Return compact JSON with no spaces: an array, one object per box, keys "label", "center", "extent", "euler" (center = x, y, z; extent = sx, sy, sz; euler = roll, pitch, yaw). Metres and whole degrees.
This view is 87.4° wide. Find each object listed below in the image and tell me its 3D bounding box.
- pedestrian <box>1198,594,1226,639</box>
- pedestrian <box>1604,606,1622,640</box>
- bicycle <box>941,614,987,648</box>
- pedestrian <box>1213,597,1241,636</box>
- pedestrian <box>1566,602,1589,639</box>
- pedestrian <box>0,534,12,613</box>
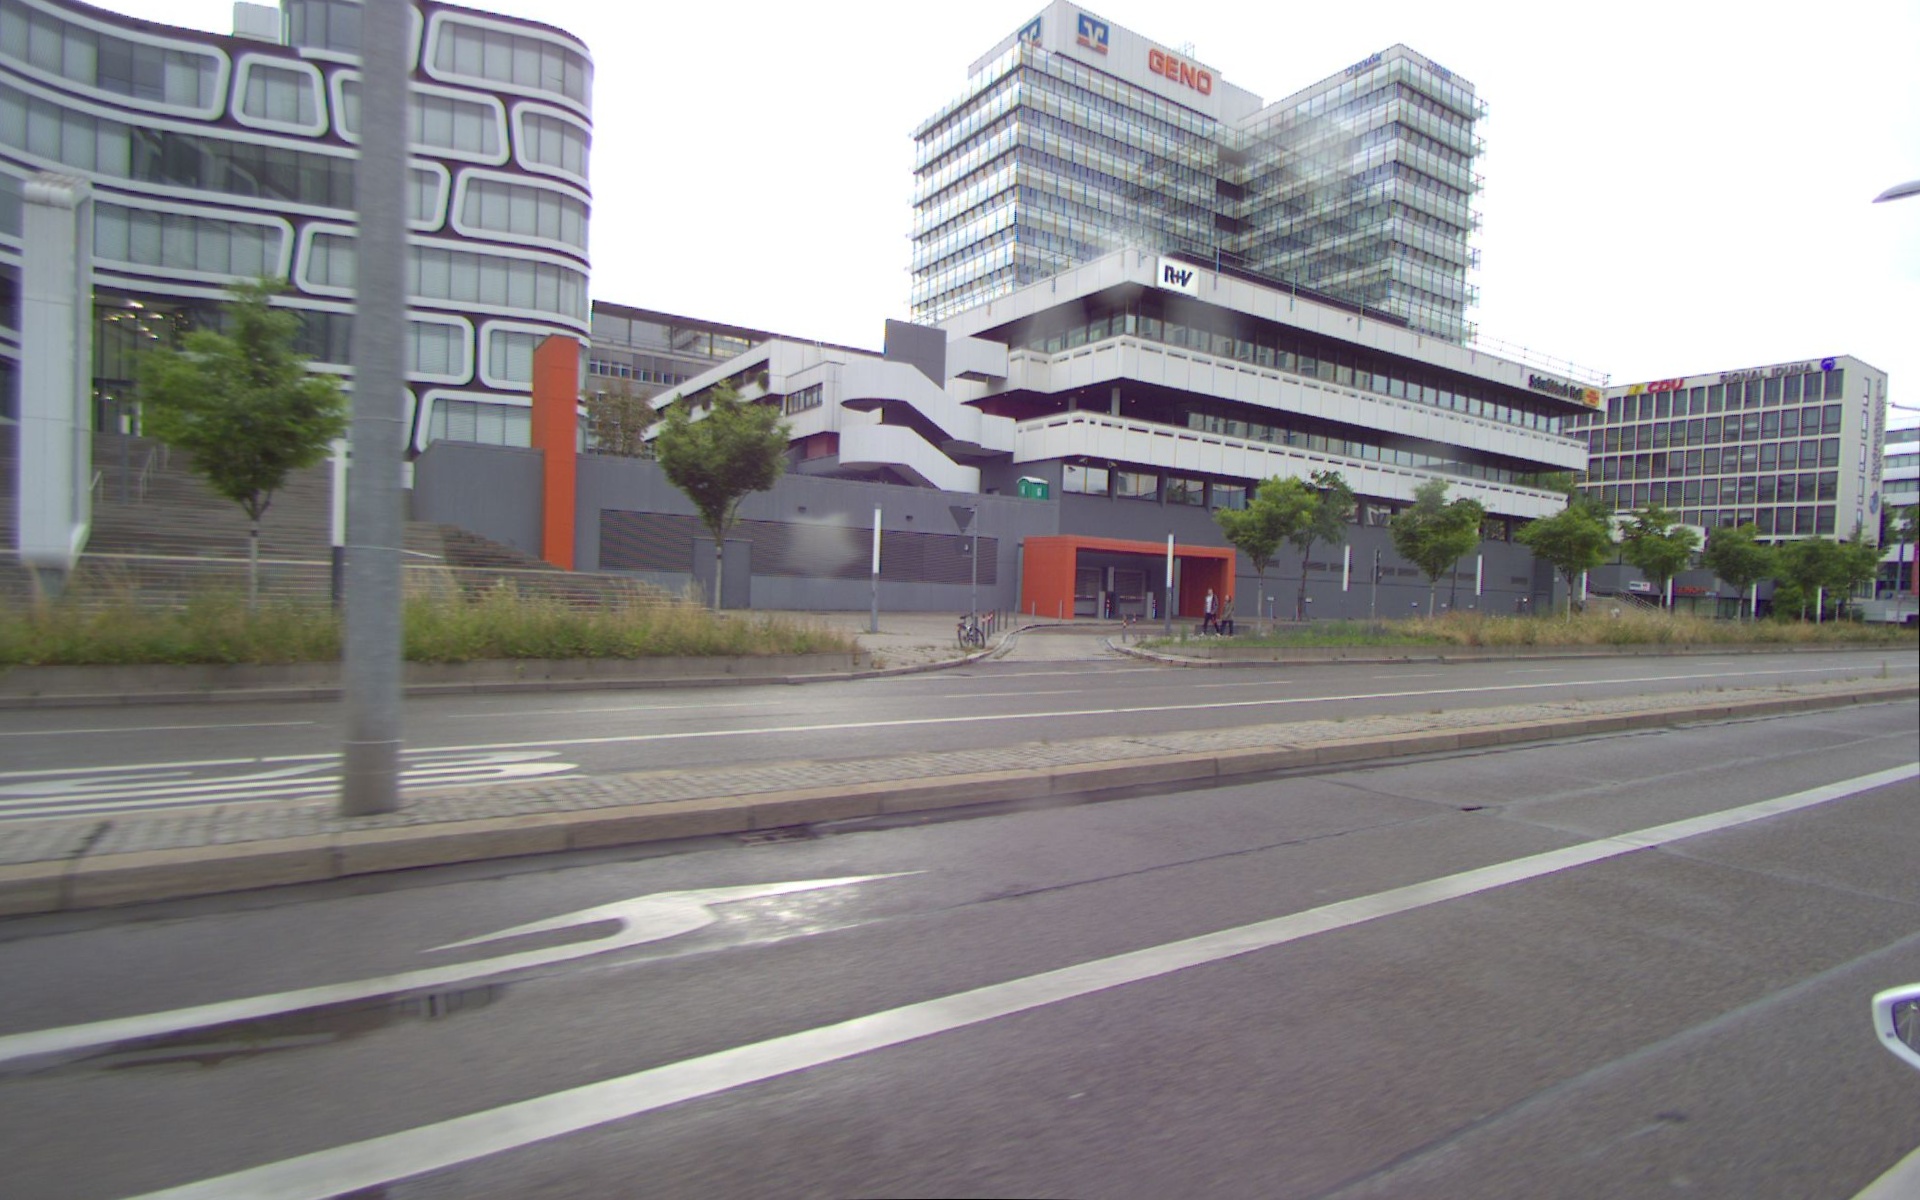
[{"label":"pedestrian","center":[9.642,0.646,38.414],"extent":[0.789,1.680,0.614],"euler":[2,0,-32]},{"label":"pedestrian","center":[36.618,1.285,56.338],"extent":[0.622,1.832,0.626],"euler":[2,0,-33]},{"label":"bicycle","center":[0.125,0.819,26.959],"extent":[0.598,0.869,1.656],"euler":[2,0,24]},{"label":"pedestrian","center":[10.049,0.620,37.775],"extent":[0.789,1.465,0.614],"euler":[2,0,-32]},{"label":"pedestrian","center":[31.562,1.050,51.353],"extent":[0.622,1.832,0.780],"euler":[2,0,-32]},{"label":"pedestrian","center":[-20.158,-0.560,20.768],"extent":[0.632,1.632,0.608],"euler":[2,0,-30]}]
